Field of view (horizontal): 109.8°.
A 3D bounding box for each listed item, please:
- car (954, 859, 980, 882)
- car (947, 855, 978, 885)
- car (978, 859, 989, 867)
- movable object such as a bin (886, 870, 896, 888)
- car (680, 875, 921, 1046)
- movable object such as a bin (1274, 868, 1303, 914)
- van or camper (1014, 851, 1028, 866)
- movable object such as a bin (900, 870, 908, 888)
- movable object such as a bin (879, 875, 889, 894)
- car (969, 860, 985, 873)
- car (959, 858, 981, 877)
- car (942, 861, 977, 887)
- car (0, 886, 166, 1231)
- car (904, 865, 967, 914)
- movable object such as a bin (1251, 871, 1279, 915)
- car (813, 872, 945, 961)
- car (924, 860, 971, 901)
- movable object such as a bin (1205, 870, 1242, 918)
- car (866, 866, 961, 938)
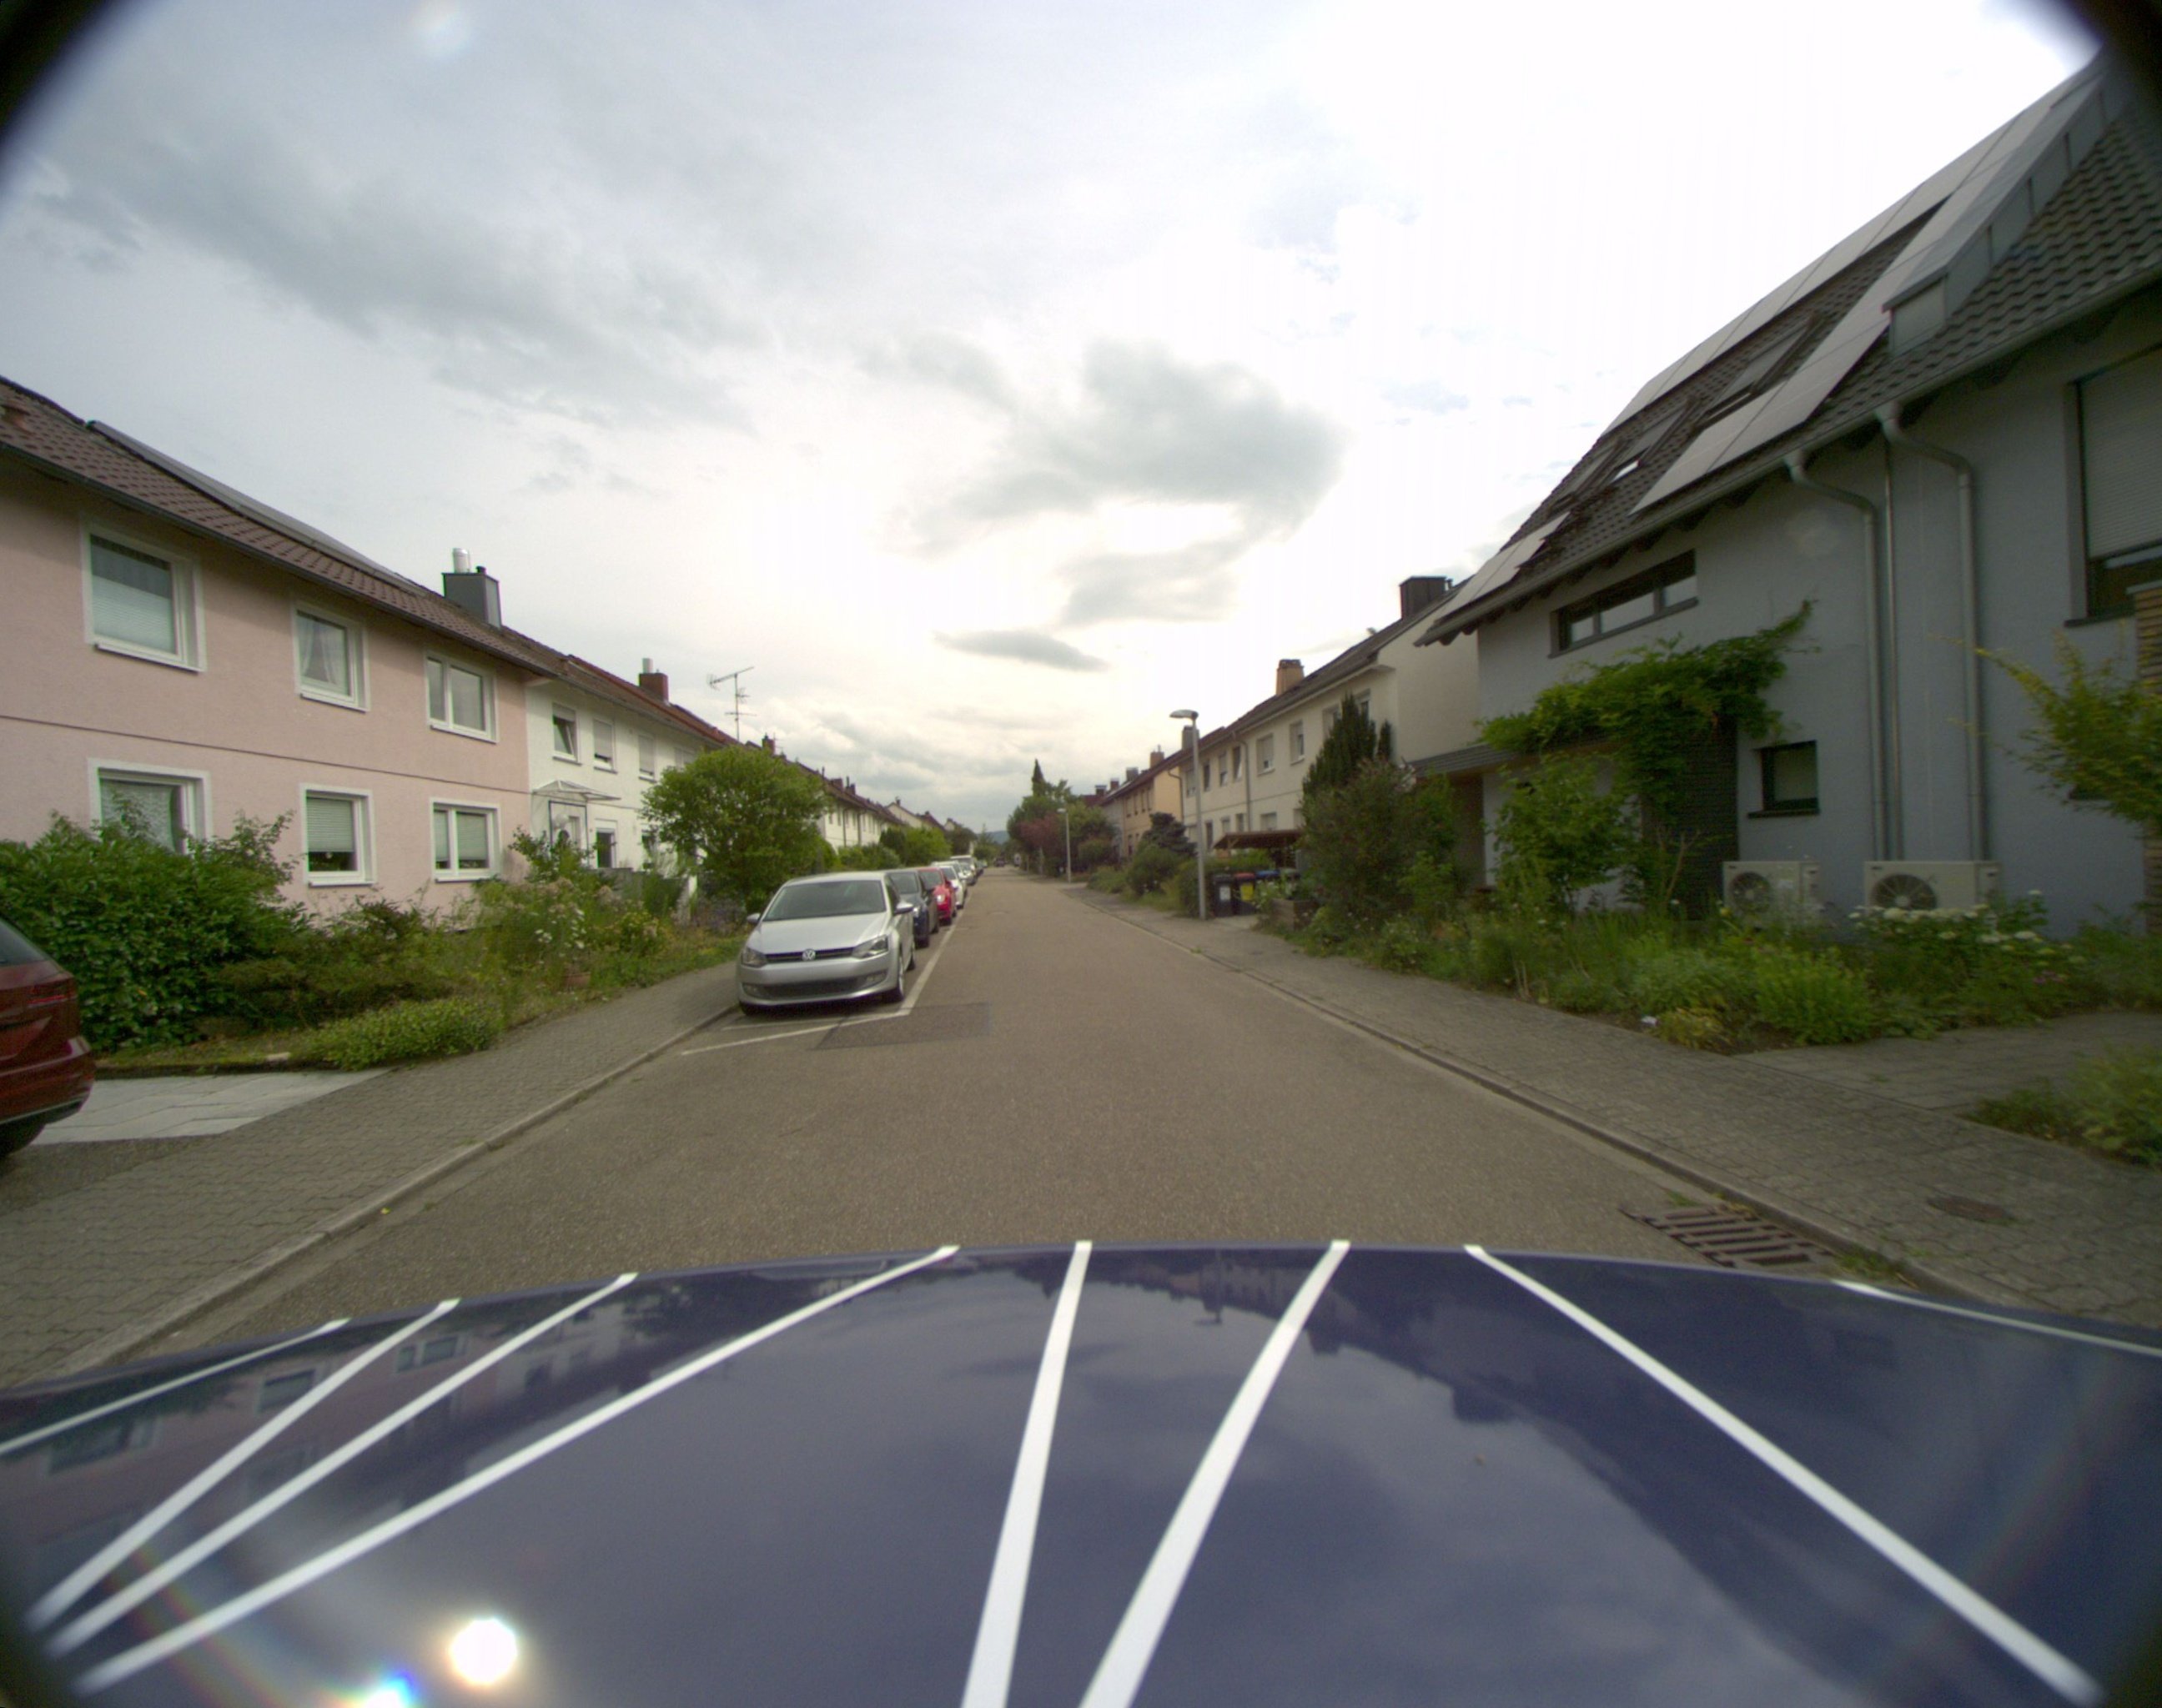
[{"bbox_3d":[-8.662,1.209,57.453,1.816,1.641,4.407,-2,0,-10],"label":"car"},{"bbox_3d":[-8.168,1.070,52.480,2.027,1.936,4.744,-2,0,-9],"label":"car"},{"bbox_3d":[-20.023,1.810,156.016,2.000,1.589,3.997,-2,0,-10],"label":"car"},{"bbox_3d":[-10.008,1.332,39.987,0.432,0.916,0.464,-2,0,-11],"label":"movable object such as a bin"},{"bbox_3d":[-3.058,1.048,9.254,1.871,1.408,4.250,-3,0,-9],"label":"car"},{"bbox_3d":[4.608,0.813,16.879,0.449,0.998,0.467,-2,0,-6],"label":"movable object such as a bin"},{"bbox_3d":[-11.651,0.830,146.685,2.348,2.719,5.744,-2,0,-6],"label":"van or camper"},{"bbox_3d":[-9.340,1.300,40.086,0.409,0.916,0.420,-2,0,-11],"label":"movable object such as a bin"},{"bbox_3d":[-10.354,1.595,39.927,0.432,0.916,0.464,-4,1,-11],"label":"movable object such as a bin"},{"bbox_3d":[-12.452,1.473,91.358,1.754,1.458,4.645,-2,0,-7],"label":"car"},{"bbox_3d":[-10.428,1.230,71.506,1.873,1.643,4.461,-2,0,-9],"label":"car"},{"bbox_3d":[-7.518,1.204,47.421,1.906,1.451,4.127,-2,0,-6],"label":"car"},{"bbox_3d":[-7.055,0.996,2.961,4.283,1.551,1.933,-1,0,-6],"label":"car"},{"bbox_3d":[-4.807,1.104,25.499,1.844,1.404,4.633,-2,0,-9],"label":"car"},{"bbox_3d":[4.080,0.854,16.854,0.468,0.950,0.467,-2,0,-6],"label":"movable object such as a bin"},{"bbox_3d":[-3.722,1.076,14.709,1.778,1.348,4.263,-2,0,-6],"label":"car"},{"bbox_3d":[-5.712,1.077,32.815,1.719,1.534,3.971,-4,0,-8],"label":"car"},{"bbox_3d":[3.153,0.876,16.850,0.604,1.021,0.664,-3,0,-6],"label":"movable object such as a bin"},{"bbox_3d":[-4.146,1.123,19.523,1.779,1.427,4.823,-4,0,-6],"label":"car"}]
